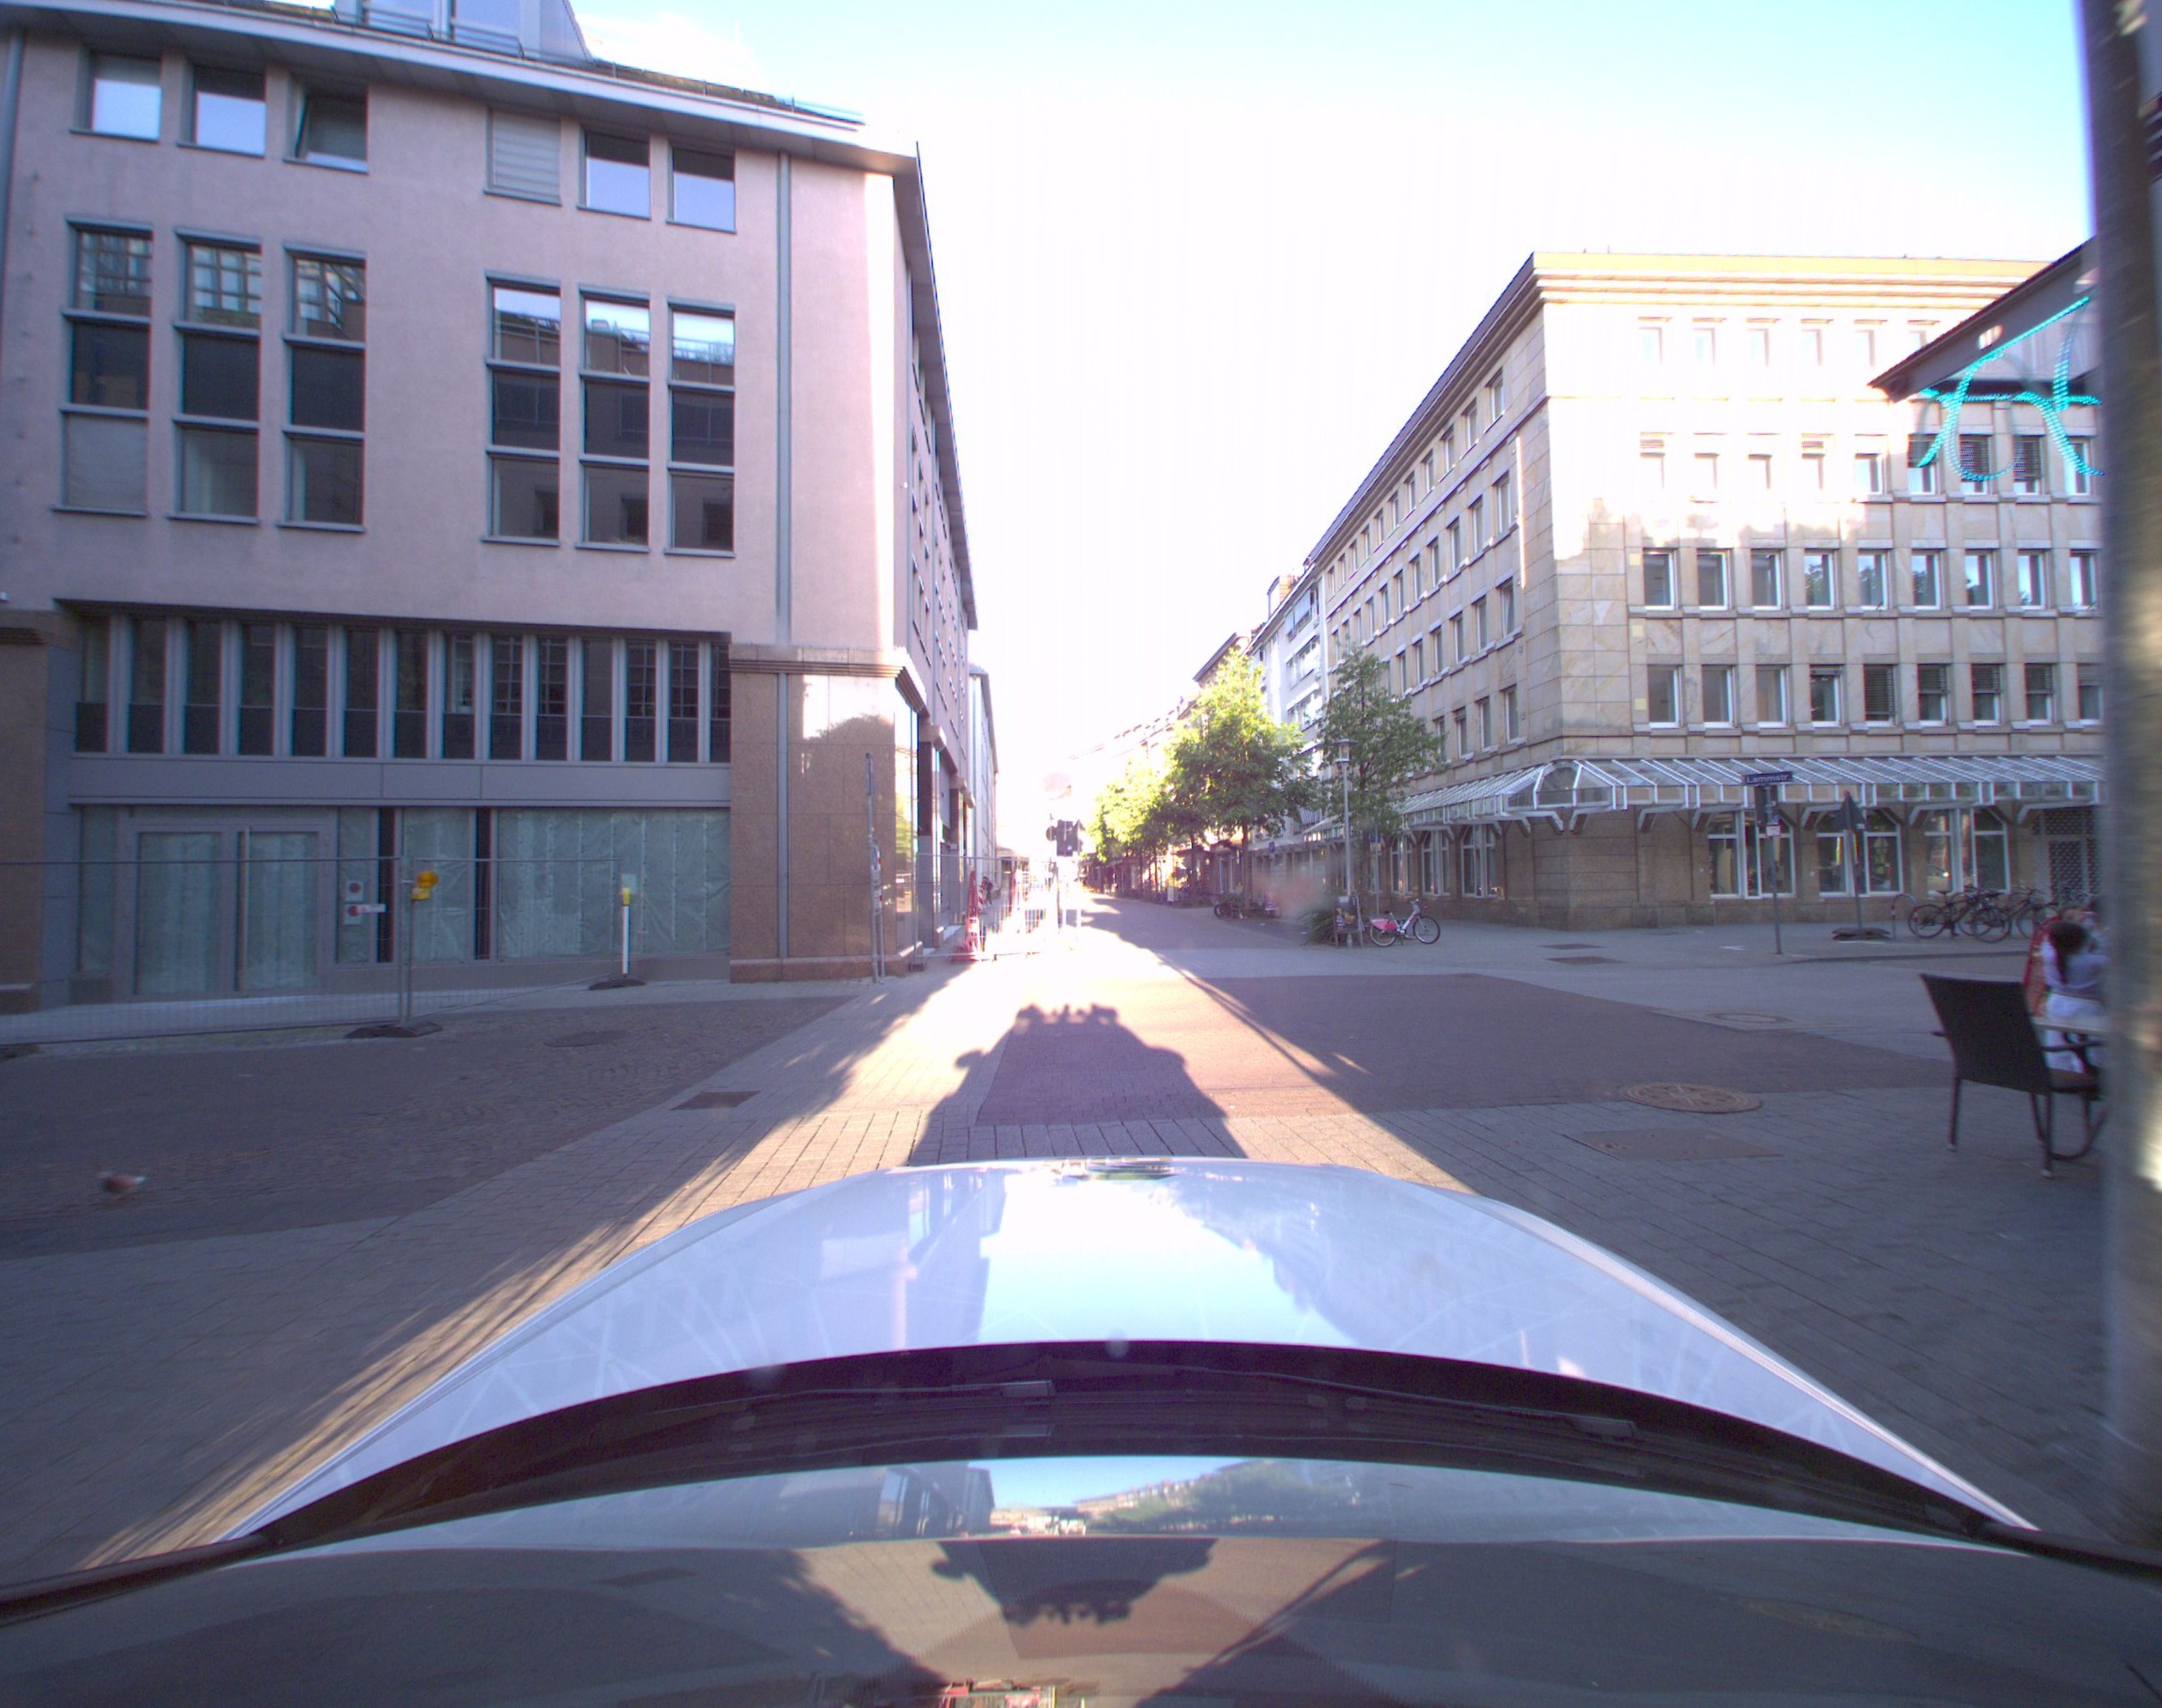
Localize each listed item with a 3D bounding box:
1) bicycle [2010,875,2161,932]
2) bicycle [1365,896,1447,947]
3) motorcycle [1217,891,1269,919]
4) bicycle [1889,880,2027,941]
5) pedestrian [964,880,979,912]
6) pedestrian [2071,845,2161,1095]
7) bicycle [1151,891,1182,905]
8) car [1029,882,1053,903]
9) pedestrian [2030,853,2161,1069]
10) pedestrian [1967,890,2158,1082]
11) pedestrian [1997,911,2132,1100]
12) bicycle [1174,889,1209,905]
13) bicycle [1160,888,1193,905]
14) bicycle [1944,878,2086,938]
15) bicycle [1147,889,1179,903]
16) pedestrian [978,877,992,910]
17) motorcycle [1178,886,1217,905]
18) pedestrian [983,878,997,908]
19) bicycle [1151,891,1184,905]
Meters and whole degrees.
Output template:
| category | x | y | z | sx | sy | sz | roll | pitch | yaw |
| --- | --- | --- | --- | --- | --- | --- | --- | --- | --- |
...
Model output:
| category | x | y | z | sx | sy | sz | roll | pitch | yaw |
| --- | --- | --- | --- | --- | --- | --- | --- | --- | --- |
| bicycle | 19.643 | 0.940 | 15.960 | 0.510 | 1.028 | 1.946 | -2 | -1 | -3 |
| bicycle | 7.638 | 1.591 | 19.210 | 1.643 | 1.051 | 0.665 | -5 | -1 | 15 |
| motorcycle | 7.055 | 2.207 | 35.435 | 2.150 | 1.151 | 0.493 | -2 | -3 | -6 |
| bicycle | 17.052 | 1.075 | 15.912 | 0.541 | 1.051 | 1.948 | -2 | 0 | -1 |
| pedestrian | -6.079 | 2.323 | 45.242 | 0.652 | 1.726 | 0.634 | -2 | -2 | 2 |
| pedestrian | 6.922 | 0.702 | 5.016 | 0.615 | 1.536 | 0.796 | -2 | -2 | 8 |
| bicycle | 6.127 | 3.157 | 58.405 | 2.153 | 0.926 | 0.588 | -2 | -3 | -10 |
| car | -3.496 | 3.341 | 70.811 | 1.840 | 1.684 | 3.635 | -2 | -2 | -7 |
| pedestrian | 7.929 | 0.762 | 6.109 | 0.716 | 1.531 | 0.721 | -2 | -2 | 17 |
| pedestrian | 6.891 | 0.893 | 5.756 | 0.657 | 1.247 | 0.517 | -3 | -2 | 25 |
| pedestrian | 6.369 | 0.947 | 5.295 | 0.405 | 1.124 | 0.476 | -3 | -2 | 36 |
| bicycle | 7.193 | 2.796 | 53.099 | 2.159 | 0.926 | 0.587 | -1 | -3 | -18 |
| bicycle | 6.418 | 2.876 | 54.924 | 2.139 | 1.061 | 0.592 | -3 | -3 | 11 |
| bicycle | 18.329 | 1.035 | 16.060 | 0.540 | 1.051 | 1.949 | -2 | 0 | 0 |
| bicycle | 5.963 | 3.061 | 59.255 | 2.153 | 0.926 | 0.588 | -2 | -3 | -10 |
| pedestrian | -5.337 | 2.202 | 45.400 | 0.652 | 1.764 | 0.634 | -2 | -2 | 2 |
| motorcycle | 7.442 | 2.641 | 51.912 | 2.483 | 1.095 | 0.586 | -1 | -3 | -25 |
| pedestrian | -5.143 | 2.216 | 45.918 | 0.652 | 1.652 | 0.634 | -2 | -2 | 2 |
| bicycle | 6.064 | 3.077 | 57.144 | 2.153 | 0.926 | 0.588 | -2 | -3 | -10 |
